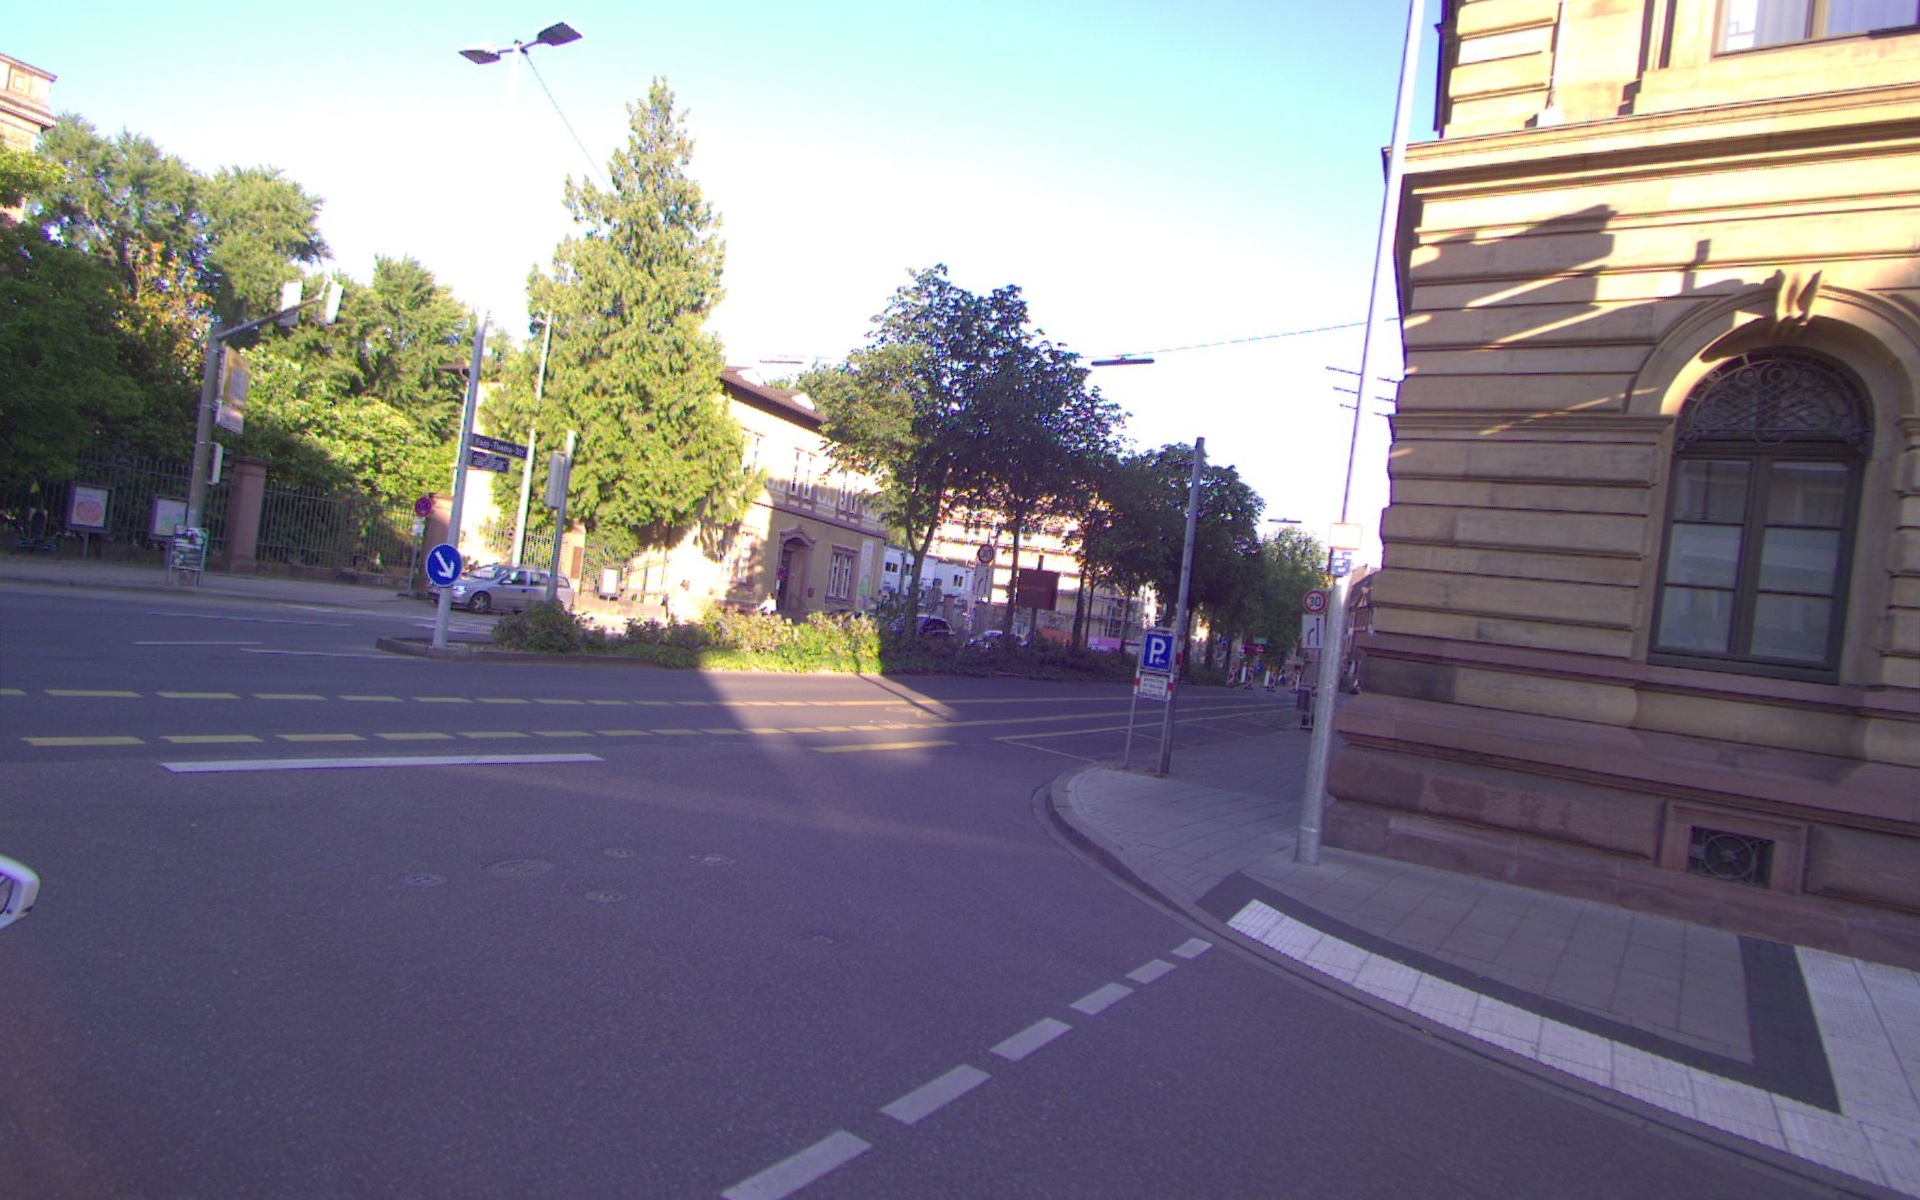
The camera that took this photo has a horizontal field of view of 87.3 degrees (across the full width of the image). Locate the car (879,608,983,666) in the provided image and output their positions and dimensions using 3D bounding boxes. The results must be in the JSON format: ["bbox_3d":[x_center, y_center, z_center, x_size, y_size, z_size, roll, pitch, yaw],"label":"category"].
[{"bbox_3d":[-0.929,1.324,34.704,1.802,1.631,4.076,6,-2,25],"label":"car"}]

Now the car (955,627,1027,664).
[{"bbox_3d":[1.475,2.145,46.865,1.802,1.407,4.021,6,-2,25],"label":"car"}]

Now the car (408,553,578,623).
[{"bbox_3d":[-13.379,-0.296,29.105,1.685,1.462,4.196,7,-1,27],"label":"car"}]

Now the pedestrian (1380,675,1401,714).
[{"bbox_3d":[22.242,4.877,52.000,0.761,1.875,0.811,7,0,26],"label":"pedestrian"}]

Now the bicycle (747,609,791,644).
[{"bbox_3d":[-6.881,0.959,36.305,0.488,1.114,1.664,5,-2,33],"label":"bicycle"}]

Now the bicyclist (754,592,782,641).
[{"bbox_3d":[-6.911,0.593,36.165,0.656,1.663,0.519,5,-1,33],"label":"bicyclist"}]

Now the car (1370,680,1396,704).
[{"bbox_3d":[39.374,8.517,93.678,1.685,1.870,3.828,7,-1,18],"label":"car"}]

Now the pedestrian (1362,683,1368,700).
[{"bbox_3d":[37.850,8.519,93.963,0.358,1.509,0.331,7,0,18],"label":"pedestrian"}]

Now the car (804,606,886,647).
[{"bbox_3d":[-5.295,1.278,46.949,1.802,1.509,4.076,6,-2,25],"label":"car"}]
